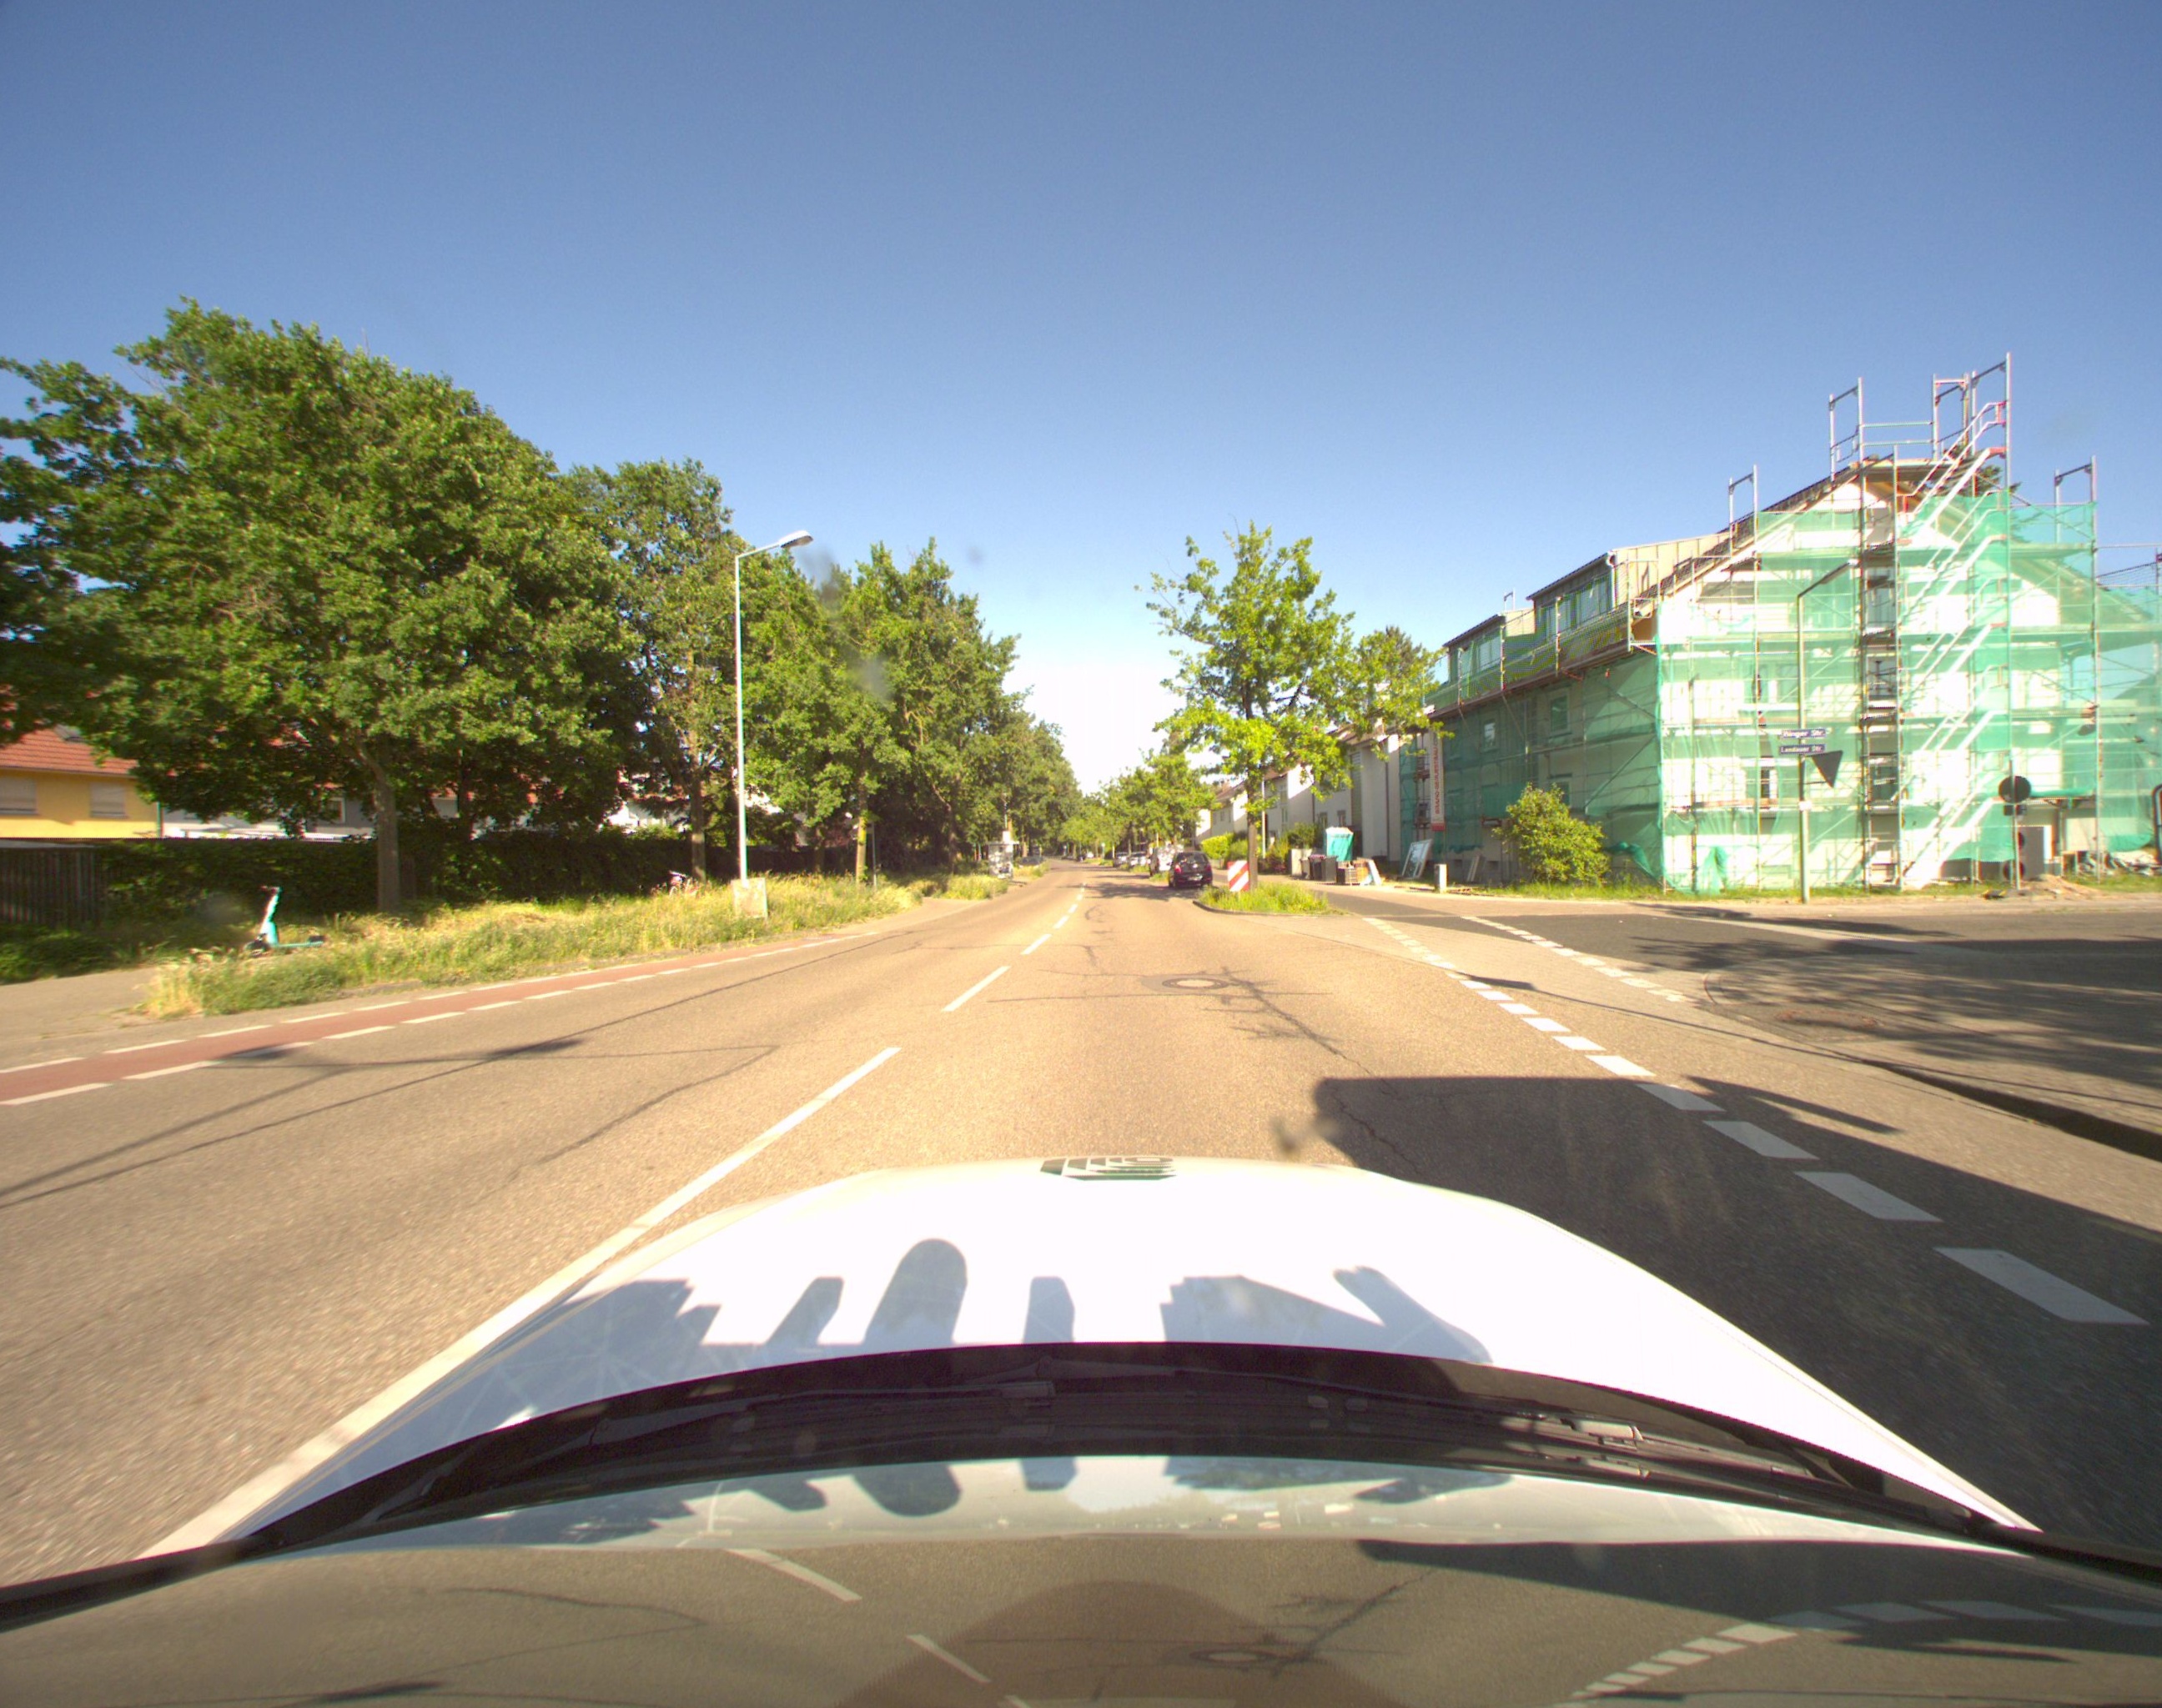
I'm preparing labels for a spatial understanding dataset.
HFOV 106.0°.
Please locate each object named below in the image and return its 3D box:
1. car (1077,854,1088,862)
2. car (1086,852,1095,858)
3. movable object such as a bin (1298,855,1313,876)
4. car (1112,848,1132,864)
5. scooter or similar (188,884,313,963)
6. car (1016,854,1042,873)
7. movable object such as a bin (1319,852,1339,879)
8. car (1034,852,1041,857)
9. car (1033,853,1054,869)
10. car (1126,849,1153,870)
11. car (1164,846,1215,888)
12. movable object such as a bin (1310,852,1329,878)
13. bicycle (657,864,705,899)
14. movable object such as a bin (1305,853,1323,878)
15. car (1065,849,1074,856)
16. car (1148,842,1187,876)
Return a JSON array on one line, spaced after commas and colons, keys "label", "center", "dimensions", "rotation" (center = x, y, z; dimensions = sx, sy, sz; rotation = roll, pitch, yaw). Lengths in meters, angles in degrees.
[{"label": "car", "center": [0.302, 0.799, 162.028], "dimensions": [1.928, 1.542, 3.998], "rotation": [-1, 0, -1]}, {"label": "car", "center": [2.136, 0.215, 188.164], "dimensions": [1.928, 1.454, 3.997], "rotation": [-1, 0, -2]}, {"label": "movable object such as a bin", "center": [10.224, 0.529, 37.075], "dimensions": [0.527, 0.932, 0.549], "rotation": [-1, 0, 0]}, {"label": "car", "center": [4.640, 0.244, 92.787], "dimensions": [1.928, 1.742, 3.998], "rotation": [-1, 0, -1]}, {"label": "scooter or similar", "center": [-14.418, 1.175, 14.185], "dimensions": [0.535, 1.218, 1.420], "rotation": [0, 1, 18]}, {"label": "car", "center": [-4.153, 0.762, 65.490], "dimensions": [1.931, 1.479, 3.996], "rotation": [-1, 0, -3]}, {"label": "movable object such as a bin", "center": [10.125, 0.468, 33.276], "dimensions": [0.601, 1.069, 0.646], "rotation": [-1, 0, 0]}, {"label": "car", "center": [-13.171, 0.040, 246.122], "dimensions": [1.928, 1.454, 3.997], "rotation": [-1, 0, -2]}, {"label": "car", "center": [-3.787, 0.655, 81.776], "dimensions": [1.989, 1.556, 3.995], "rotation": [0, 0, -3]}, {"label": "car", "center": [4.986, 0.493, 70.269], "dimensions": [1.930, 1.704, 3.998], "rotation": [-1, 0, -1]}, {"label": "car", "center": [4.581, 0.515, 34.684], "dimensions": [1.666, 1.578, 3.752], "rotation": [-3, 0, 1]}, {"label": "movable object such as a bin", "center": [10.038, 0.467, 34.294], "dimensions": [0.601, 1.069, 0.646], "rotation": [-1, 0, 0]}, {"label": "bicycle", "center": [-12.702, 0.852, 25.907], "dimensions": [0.503, 1.053, 1.881], "rotation": [-1, 0, 2]}, {"label": "movable object such as a bin", "center": [10.038, 0.493, 35.086], "dimensions": [0.601, 1.069, 0.567], "rotation": [-1, 0, 0]}, {"label": "car", "center": [-2.636, -0.364, 190.049], "dimensions": [1.928, 1.454, 3.997], "rotation": [-1, 0, -2]}, {"label": "car", "center": [5.250, 0.281, 50.045], "dimensions": [1.830, 1.971, 4.756], "rotation": [-1, 0, -1]}]
